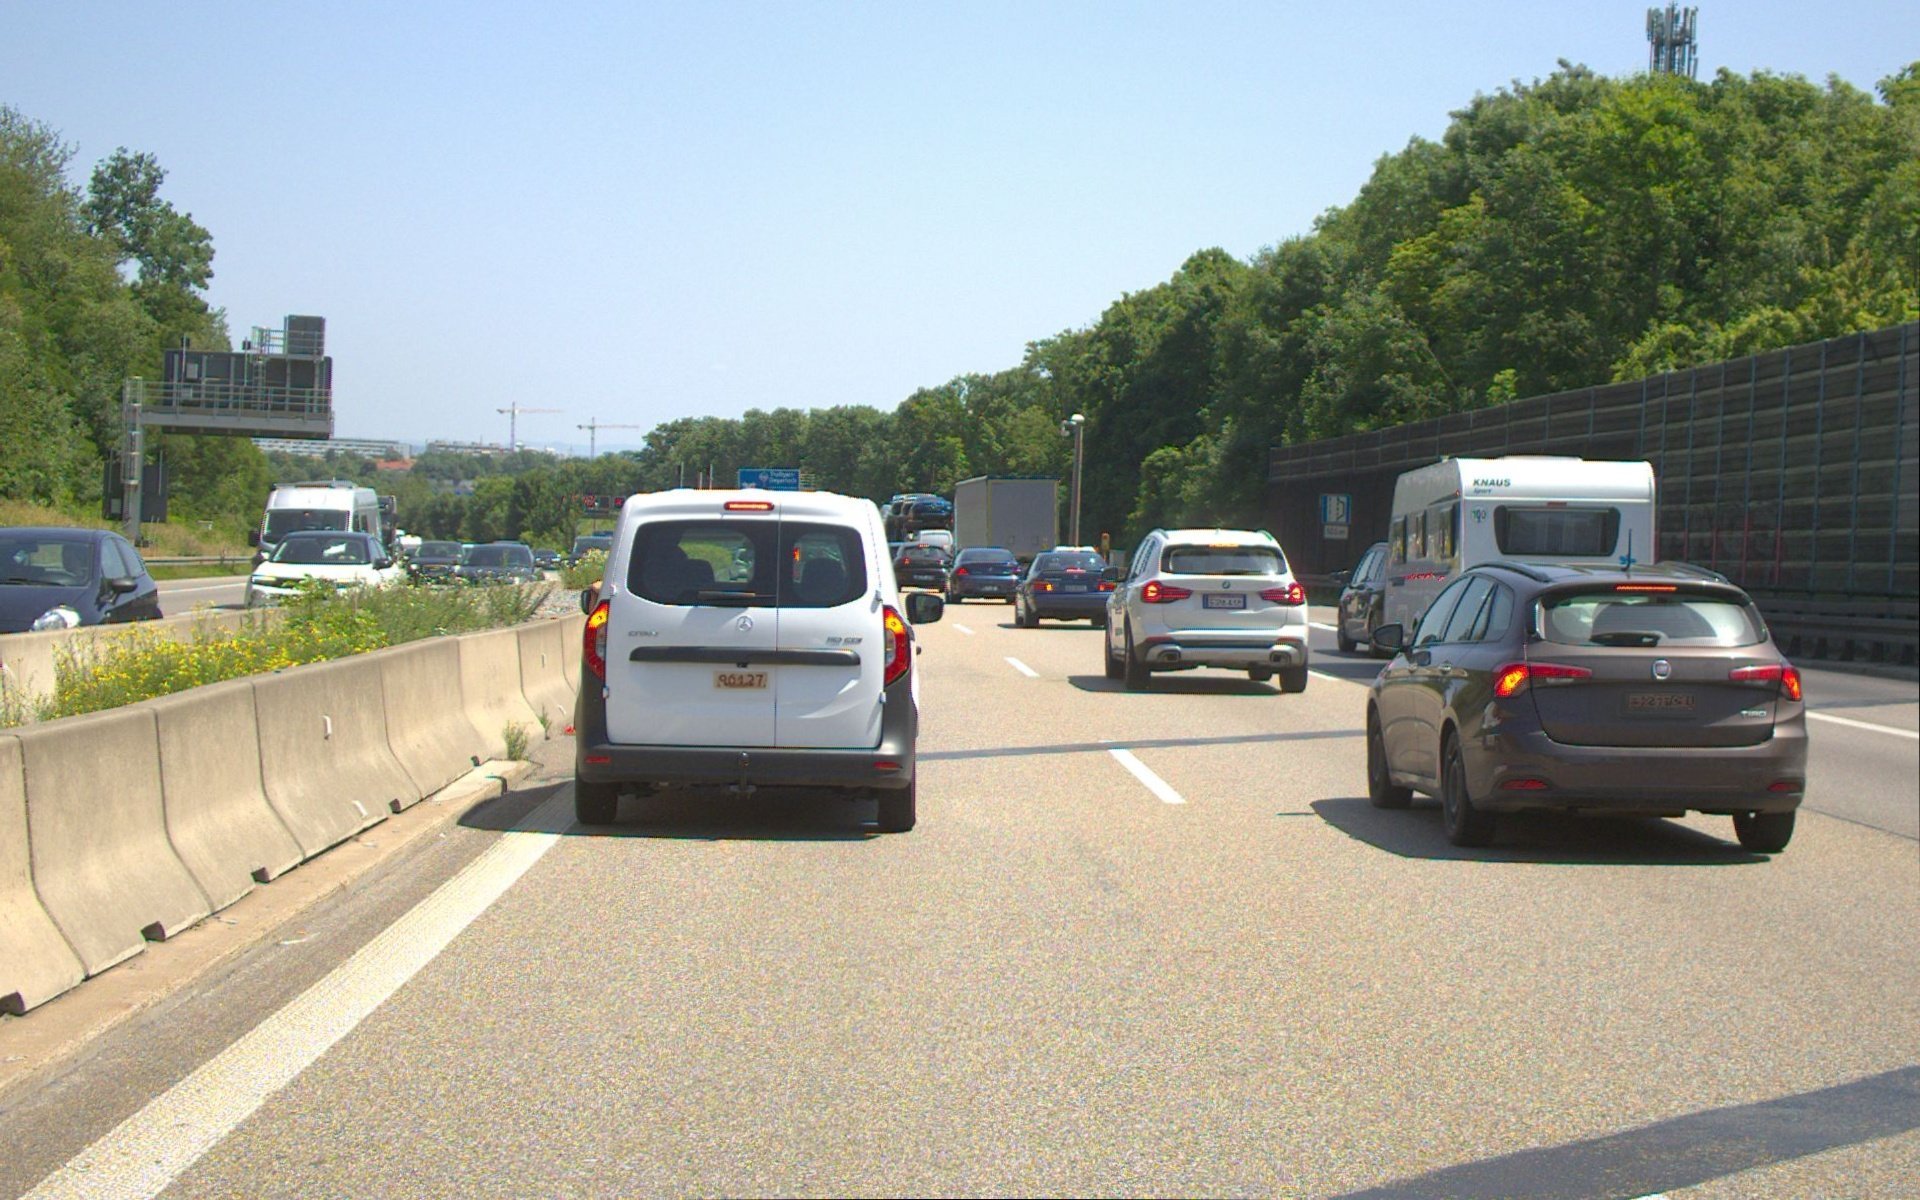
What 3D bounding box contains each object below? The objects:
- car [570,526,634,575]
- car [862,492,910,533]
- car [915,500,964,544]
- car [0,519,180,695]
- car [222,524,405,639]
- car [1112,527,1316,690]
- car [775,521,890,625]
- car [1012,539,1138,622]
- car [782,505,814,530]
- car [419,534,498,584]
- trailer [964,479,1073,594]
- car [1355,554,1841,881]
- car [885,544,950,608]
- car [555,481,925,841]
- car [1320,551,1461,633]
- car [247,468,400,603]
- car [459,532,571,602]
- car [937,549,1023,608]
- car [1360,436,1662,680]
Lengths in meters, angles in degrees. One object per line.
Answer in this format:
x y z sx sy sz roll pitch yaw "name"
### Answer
-13.001 -1.809 125.068 1.993 1.718 4.357 1 1 -2 "car"
-3.788 -4.446 174.718 1.993 2.007 4.001 0 1 -8 "car"
-0.974 -3.567 157.845 1.993 2.007 4.001 1 1 -4 "car"
-8.023 0.011 29.812 1.665 1.423 3.857 1 1 -1 "car"
-9.039 -0.287 48.385 1.804 1.521 4.257 1 1 -1 "car"
2.660 0.044 36.748 1.871 1.603 3.879 1 1 0 "car"
-2.414 -0.516 64.290 1.993 1.853 4.001 1 1 -4 "car"
2.028 -0.367 61.676 1.824 1.419 4.001 1 1 -4 "car"
-11.241 -5.717 238.528 1.993 1.722 4.001 0 1 -6 "car"
-14.790 -1.227 101.490 1.813 1.397 4.272 1 1 -2 "car"
2.062 -2.299 126.020 3.081 3.972 10.325 1 1 -4 "trailer"
3.350 0.542 18.904 1.838 1.508 4.402 1 1 0 "car"
-1.376 -0.780 110.051 1.824 1.982 4.001 0 1 -4 "car"
-1.134 0.276 19.389 1.802 1.802 4.000 1 1 0 "car"
7.724 -0.165 62.017 1.824 1.419 4.001 1 1 -3 "car"
-13.440 -1.358 72.971 2.215 2.692 6.063 1 1 -1 "car"
-9.395 -0.707 72.885 1.875 1.406 4.413 1 1 -1 "car"
0.471 -0.543 85.262 1.824 1.419 4.001 1 1 -4 "car"
6.667 -0.523 42.417 2.478 2.756 6.220 1 1 -2 "car"
